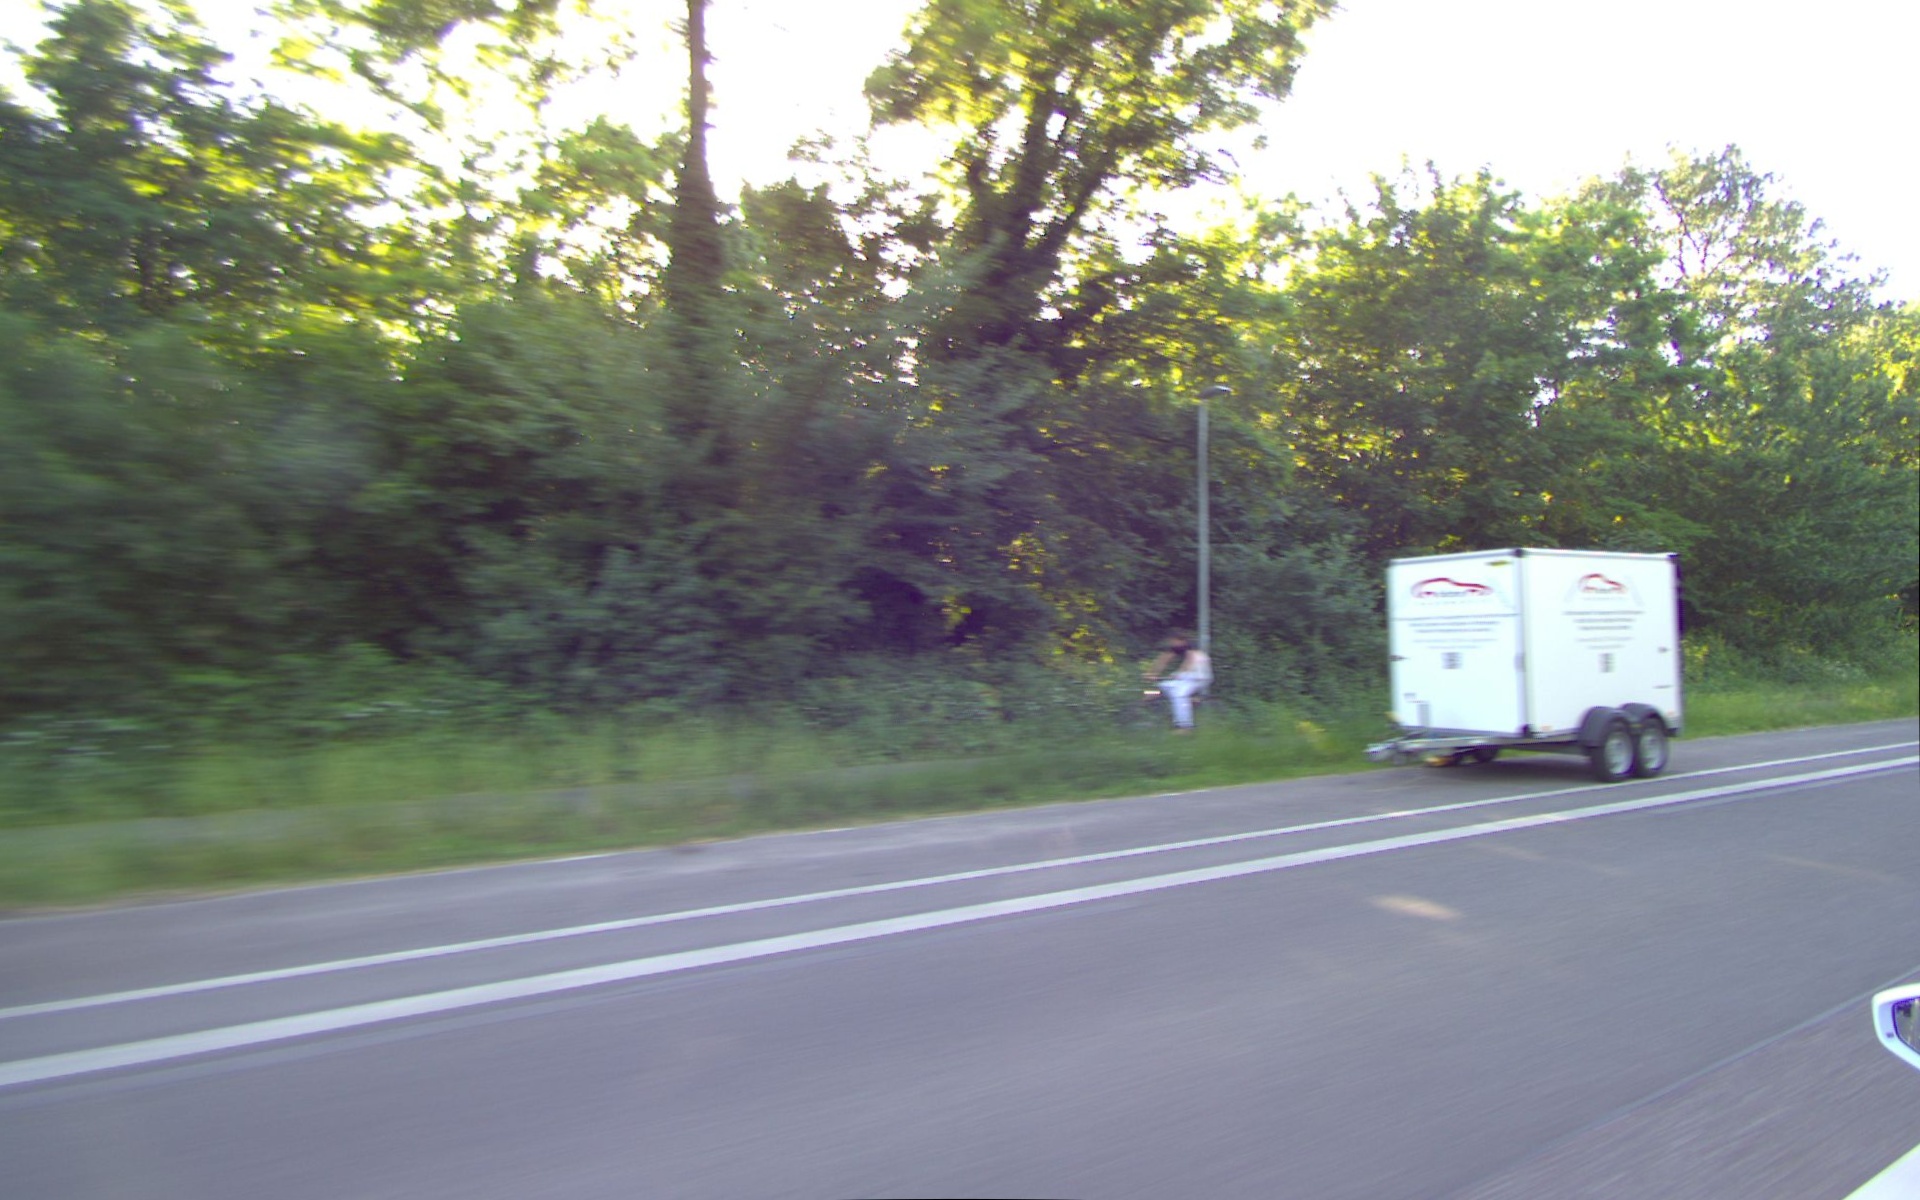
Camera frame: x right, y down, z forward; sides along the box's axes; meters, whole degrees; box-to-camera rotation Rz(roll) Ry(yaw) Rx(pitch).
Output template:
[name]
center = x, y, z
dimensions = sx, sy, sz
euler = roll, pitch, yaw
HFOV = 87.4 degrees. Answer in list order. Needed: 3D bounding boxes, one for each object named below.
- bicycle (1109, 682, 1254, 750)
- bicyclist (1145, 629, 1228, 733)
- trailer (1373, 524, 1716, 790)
[bicycle]
center = 3.121, 1.597, 14.050
dimensions = 2.074, 0.812, 0.668
euler = 2, 0, -31
[bicyclist]
center = 3.161, 1.116, 14.058
dimensions = 0.894, 1.382, 0.668
euler = 2, 0, -30
[trailer]
center = 6.641, 0.593, 11.376
dimensions = 3.524, 2.513, 2.054
euler = 1, -2, -34
